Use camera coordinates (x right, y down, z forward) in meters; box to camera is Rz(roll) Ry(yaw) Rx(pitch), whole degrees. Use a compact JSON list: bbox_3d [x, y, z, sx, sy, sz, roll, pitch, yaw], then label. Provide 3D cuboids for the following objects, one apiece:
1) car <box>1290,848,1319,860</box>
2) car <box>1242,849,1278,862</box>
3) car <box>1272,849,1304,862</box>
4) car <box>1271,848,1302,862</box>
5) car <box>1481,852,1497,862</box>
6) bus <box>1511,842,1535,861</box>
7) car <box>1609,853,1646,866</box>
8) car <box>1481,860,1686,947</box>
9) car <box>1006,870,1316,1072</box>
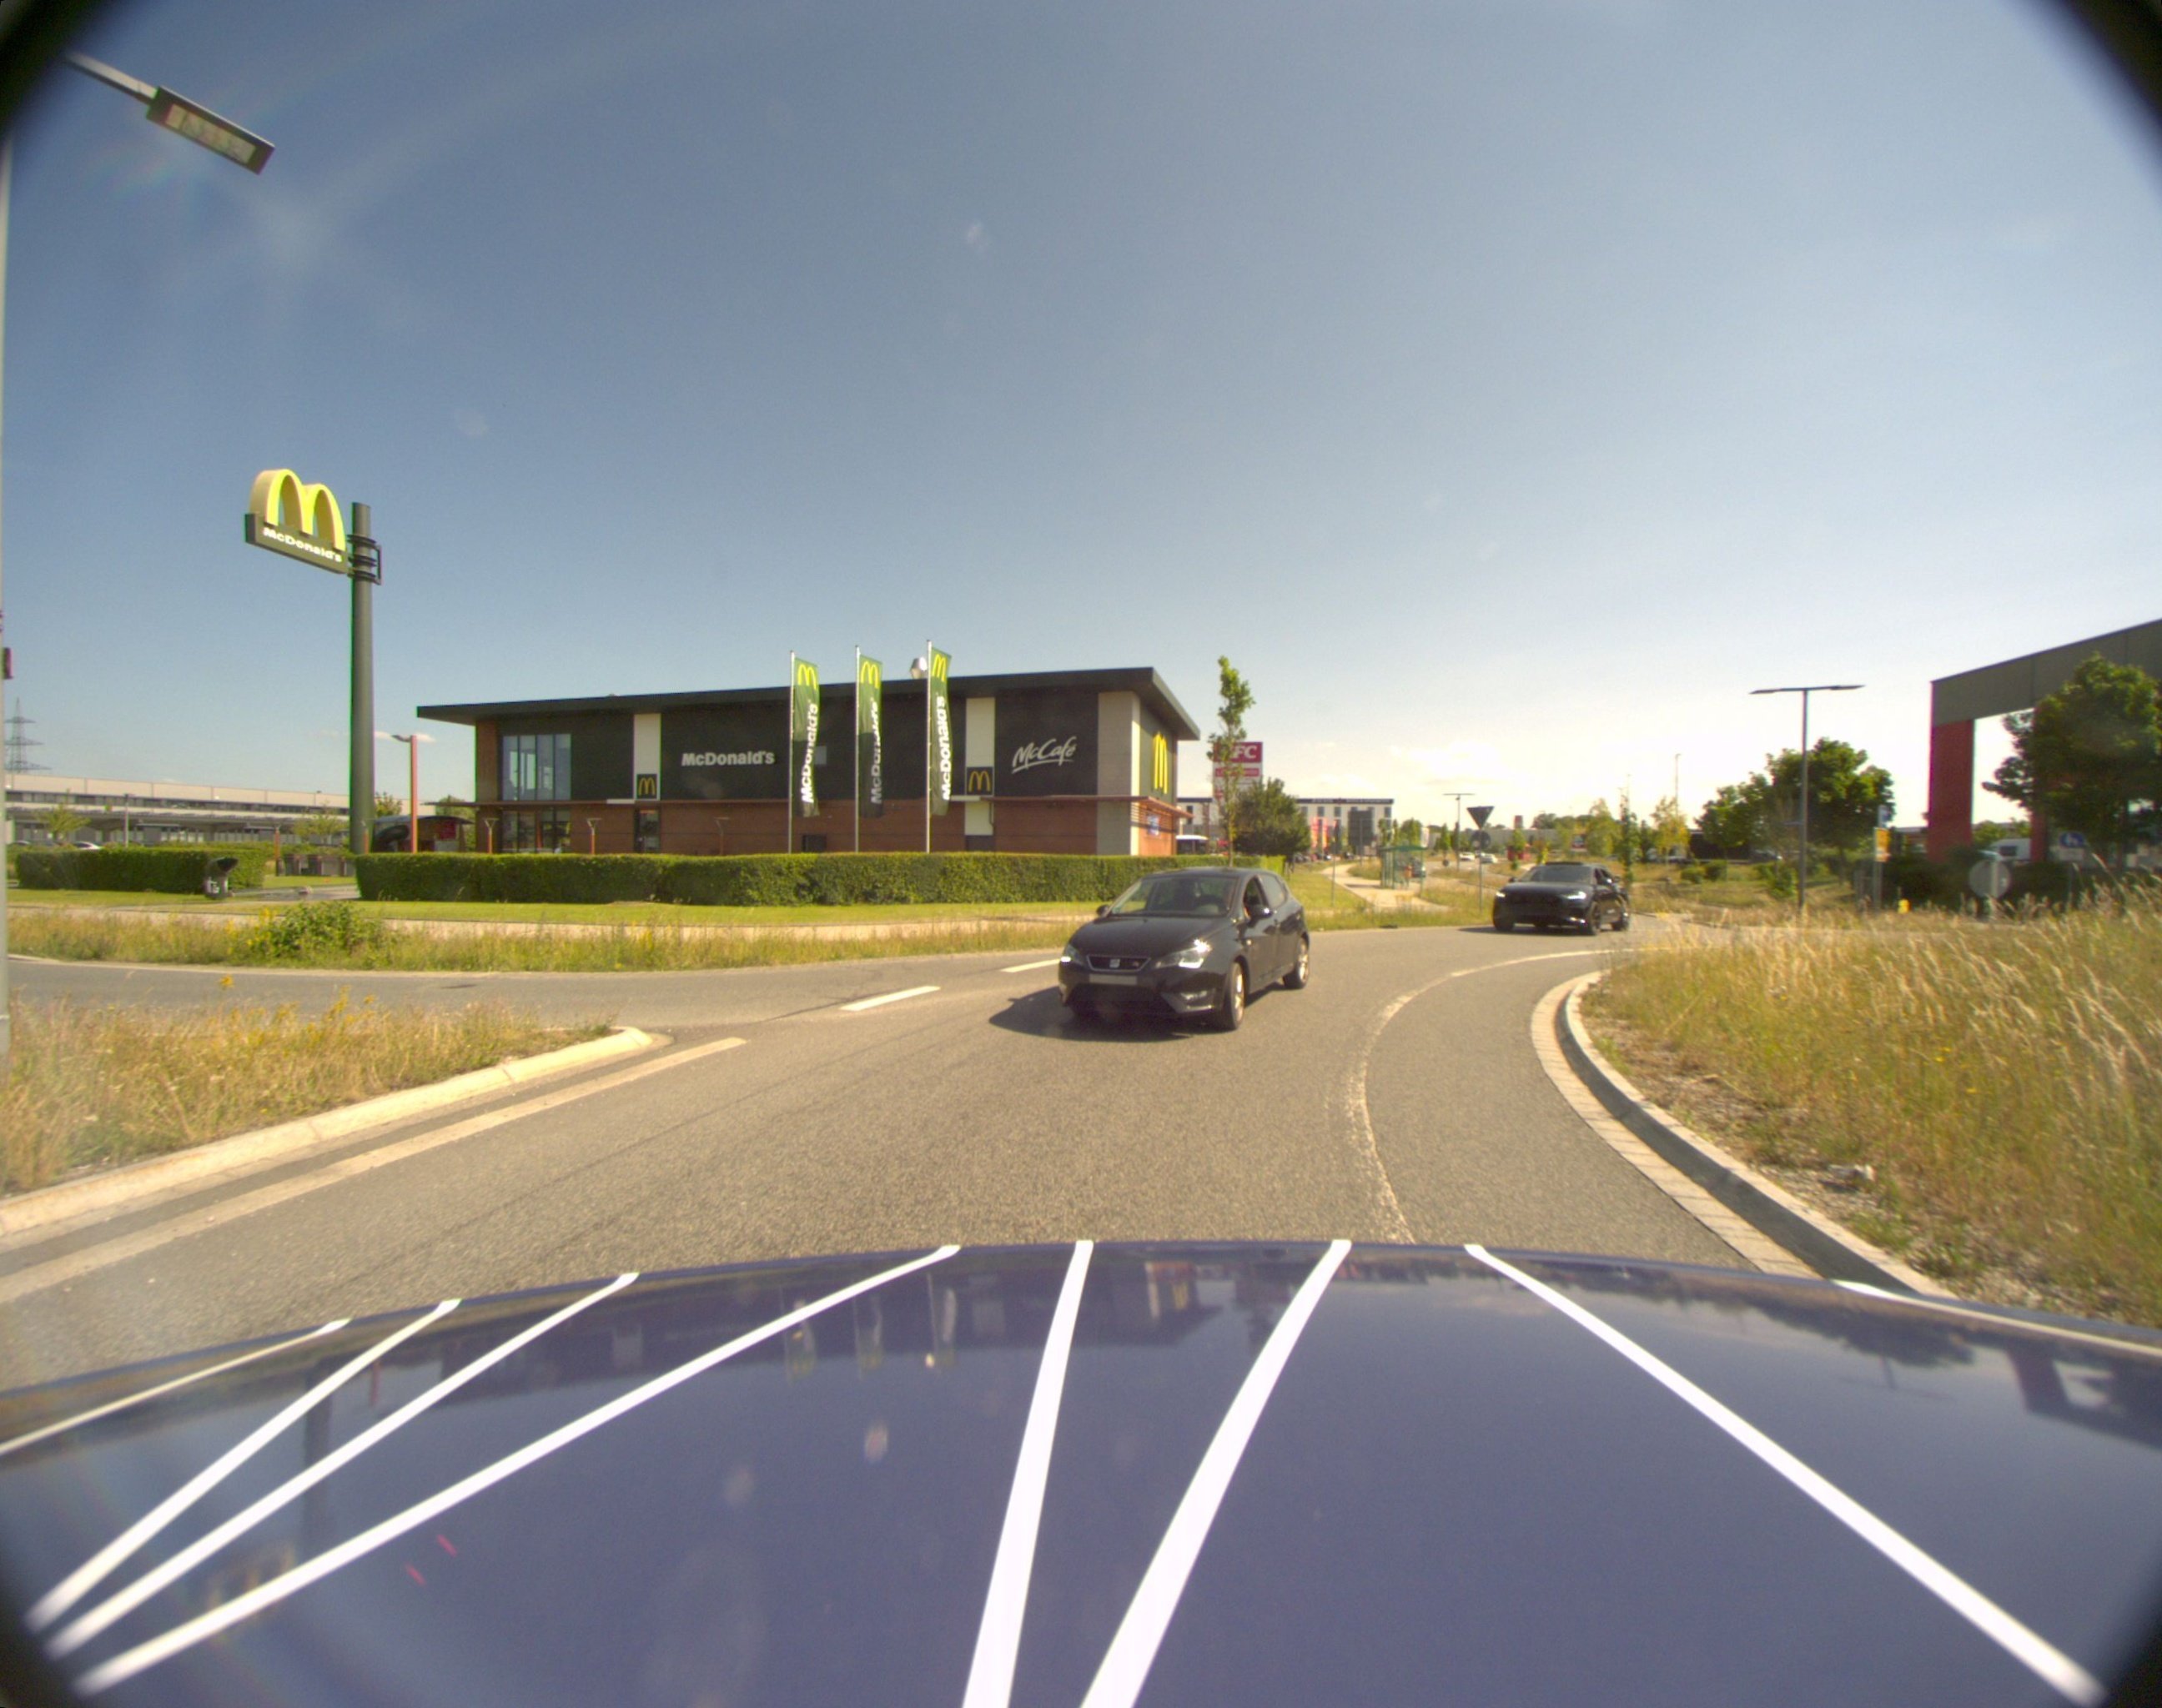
[{"bbox_3d":[35.858,0.012,121.999,4.175,1.752,1.827,1,1,32],"label":"car"},{"bbox_3d":[24.212,0.206,102.743,4.432,1.643,1.936,1,1,22],"label":"car"},{"bbox_3d":[31.326,0.210,114.997,4.175,1.847,1.807,1,1,33],"label":"car"},{"bbox_3d":[30.476,0.130,112.726,4.175,2.002,1.937,1,1,29],"label":"car"},{"bbox_3d":[61.321,0.455,114.162,1.792,1.408,4.391,1,1,33],"label":"car"},{"bbox_3d":[78.375,-0.509,134.707,2.610,3.223,11.906,1,1,35],"label":"bus"},{"bbox_3d":[76.538,0.754,106.375,1.623,1.667,3.934,0,1,-44],"label":"car"},{"bbox_3d":[11.605,1.063,17.587,4.003,1.678,1.860,-2,1,-18],"label":"car"},{"bbox_3d":[1.119,0.962,8.158,1.858,1.460,4.008,1,1,29],"label":"car"}]
